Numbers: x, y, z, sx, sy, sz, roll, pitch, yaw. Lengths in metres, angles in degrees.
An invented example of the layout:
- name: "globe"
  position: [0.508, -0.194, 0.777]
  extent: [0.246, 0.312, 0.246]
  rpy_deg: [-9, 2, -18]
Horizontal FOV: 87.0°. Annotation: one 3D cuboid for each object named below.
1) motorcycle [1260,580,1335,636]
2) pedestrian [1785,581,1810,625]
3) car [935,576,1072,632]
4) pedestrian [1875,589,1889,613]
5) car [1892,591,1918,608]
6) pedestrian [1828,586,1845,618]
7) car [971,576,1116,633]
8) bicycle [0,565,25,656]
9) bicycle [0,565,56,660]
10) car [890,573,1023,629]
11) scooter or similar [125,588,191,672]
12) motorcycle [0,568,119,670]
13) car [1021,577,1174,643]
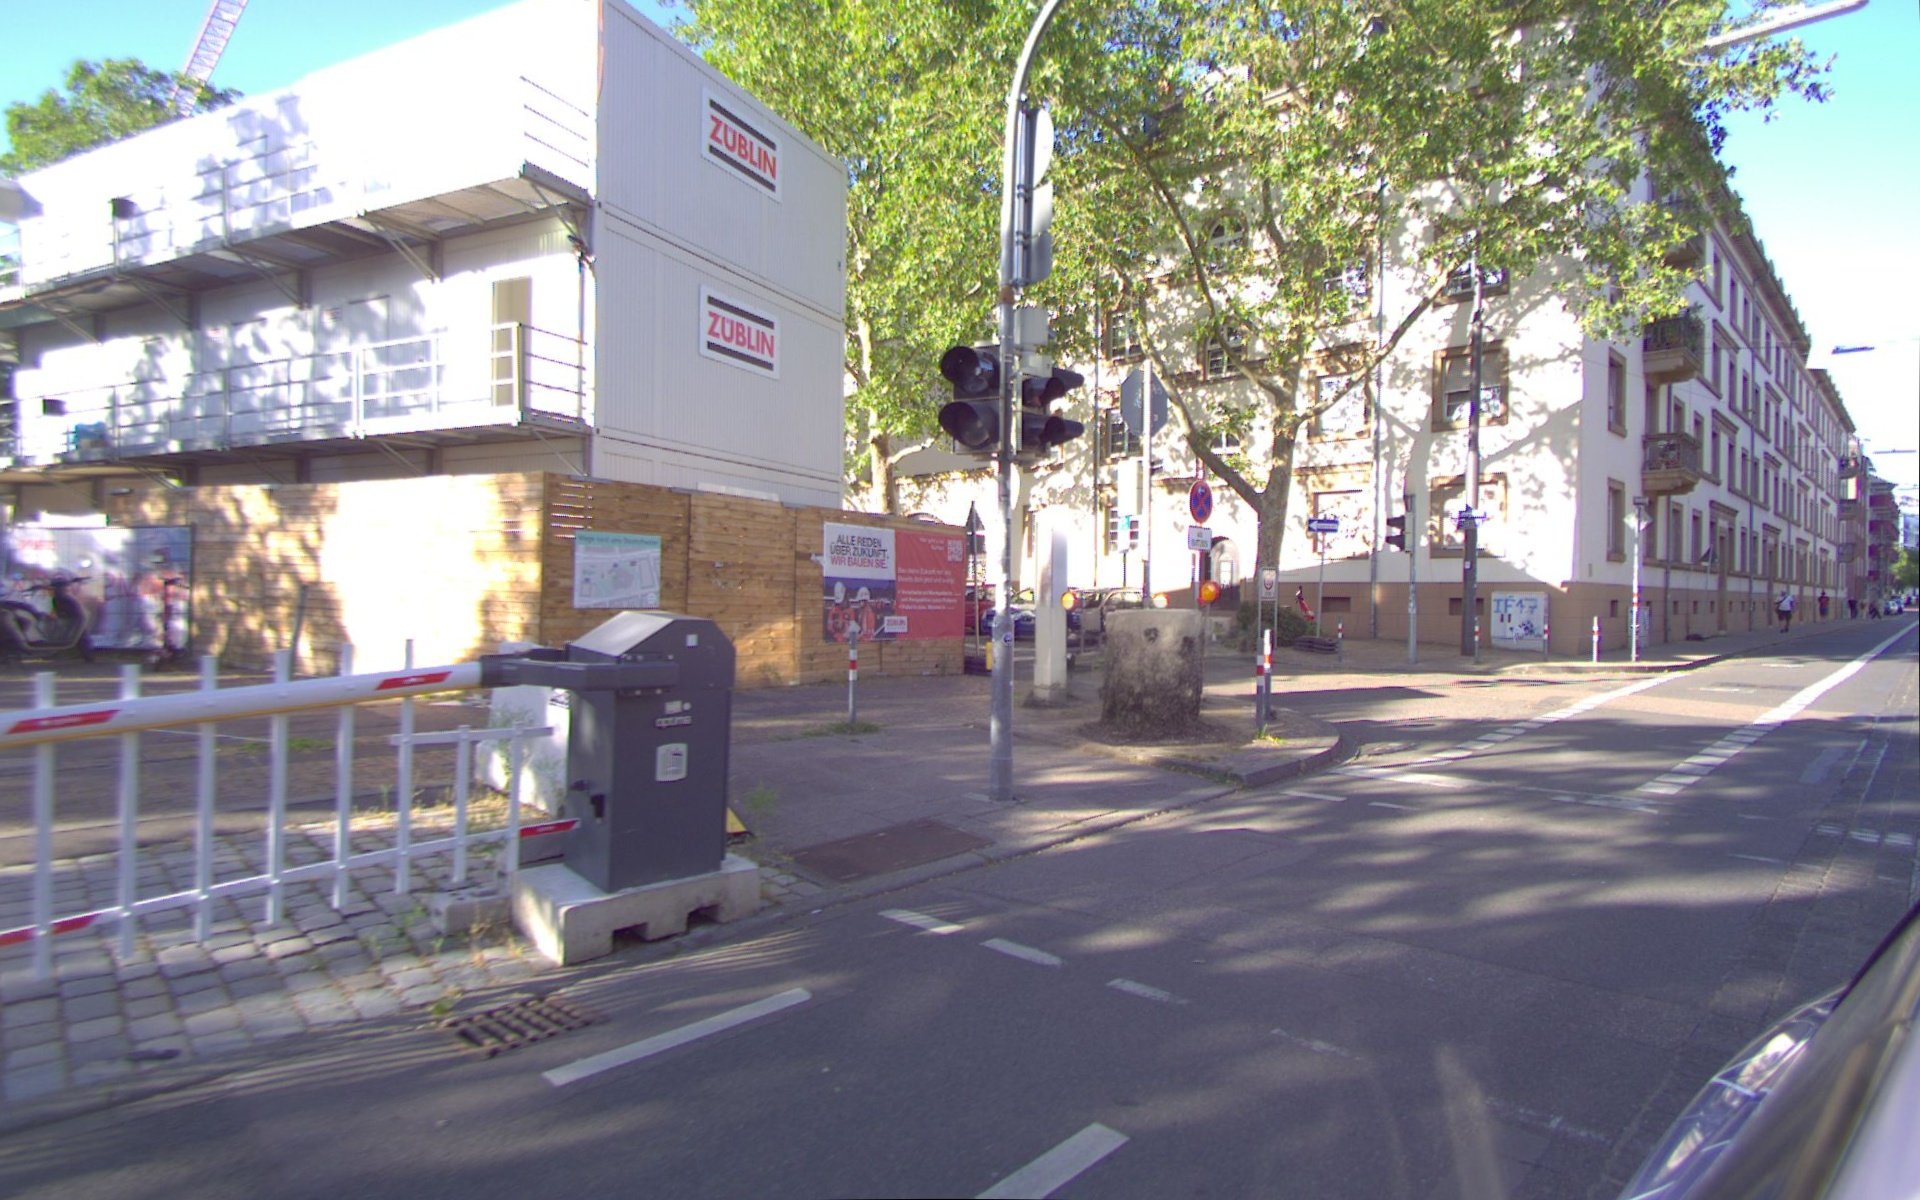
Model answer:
- name: "motorcycle"
  position: [8.540, 0.179, 25.650]
  extent: [1.757, 1.349, 0.507]
  rpy_deg: [2, 1, 44]
- name: "pedestrian"
  position: [36.002, 0.139, 43.499]
  extent: [0.736, 1.860, 0.685]
  rpy_deg: [1, 1, 44]
- name: "car"
  position: [1.398, 0.096, 31.176]
  extent: [1.723, 1.590, 4.405]
  rpy_deg: [1, 1, 44]
- name: "pedestrian"
  position: [71.205, 0.070, 78.157]
  extent: [0.736, 1.860, 0.685]
  rpy_deg: [1, 1, 44]
- name: "car"
  position: [97.762, -0.032, 104.706]
  extent: [1.883, 1.705, 4.325]
  rpy_deg: [0, -1, 42]
- name: "pedestrian"
  position: [52.080, 0.100, 60.137]
  extent: [0.736, 1.860, 0.685]
  rpy_deg: [1, 1, 44]
- name: "car"
  position: [2.458, 0.097, 28.896]
  extent: [1.723, 1.519, 4.405]
  rpy_deg: [1, 1, 44]
- name: "bicycle"
  position: [-13.775, 0.154, 13.530]
  extent: [0.463, 1.273, 2.046]
  rpy_deg: [1, 1, 7]
- name: "bicycle"
  position: [-13.295, 0.173, 13.497]
  extent: [0.463, 1.273, 2.046]
  rpy_deg: [1, 1, 7]
- name: "car"
  position: [-0.058, -0.006, 32.662]
  extent: [1.723, 1.692, 4.405]
  rpy_deg: [1, 1, 44]
- name: "scooter or similar"
  position: [-10.772, 0.375, 13.624]
  extent: [0.377, 1.033, 1.490]
  rpy_deg: [1, 1, -26]
- name: "motorcycle"
  position: [-12.254, 0.222, 13.186]
  extent: [0.534, 1.273, 2.207]
  rpy_deg: [1, 1, 7]
- name: "car"
  position: [3.694, 0.221, 26.670]
  extent: [1.723, 1.590, 4.405]
  rpy_deg: [1, 1, 44]
